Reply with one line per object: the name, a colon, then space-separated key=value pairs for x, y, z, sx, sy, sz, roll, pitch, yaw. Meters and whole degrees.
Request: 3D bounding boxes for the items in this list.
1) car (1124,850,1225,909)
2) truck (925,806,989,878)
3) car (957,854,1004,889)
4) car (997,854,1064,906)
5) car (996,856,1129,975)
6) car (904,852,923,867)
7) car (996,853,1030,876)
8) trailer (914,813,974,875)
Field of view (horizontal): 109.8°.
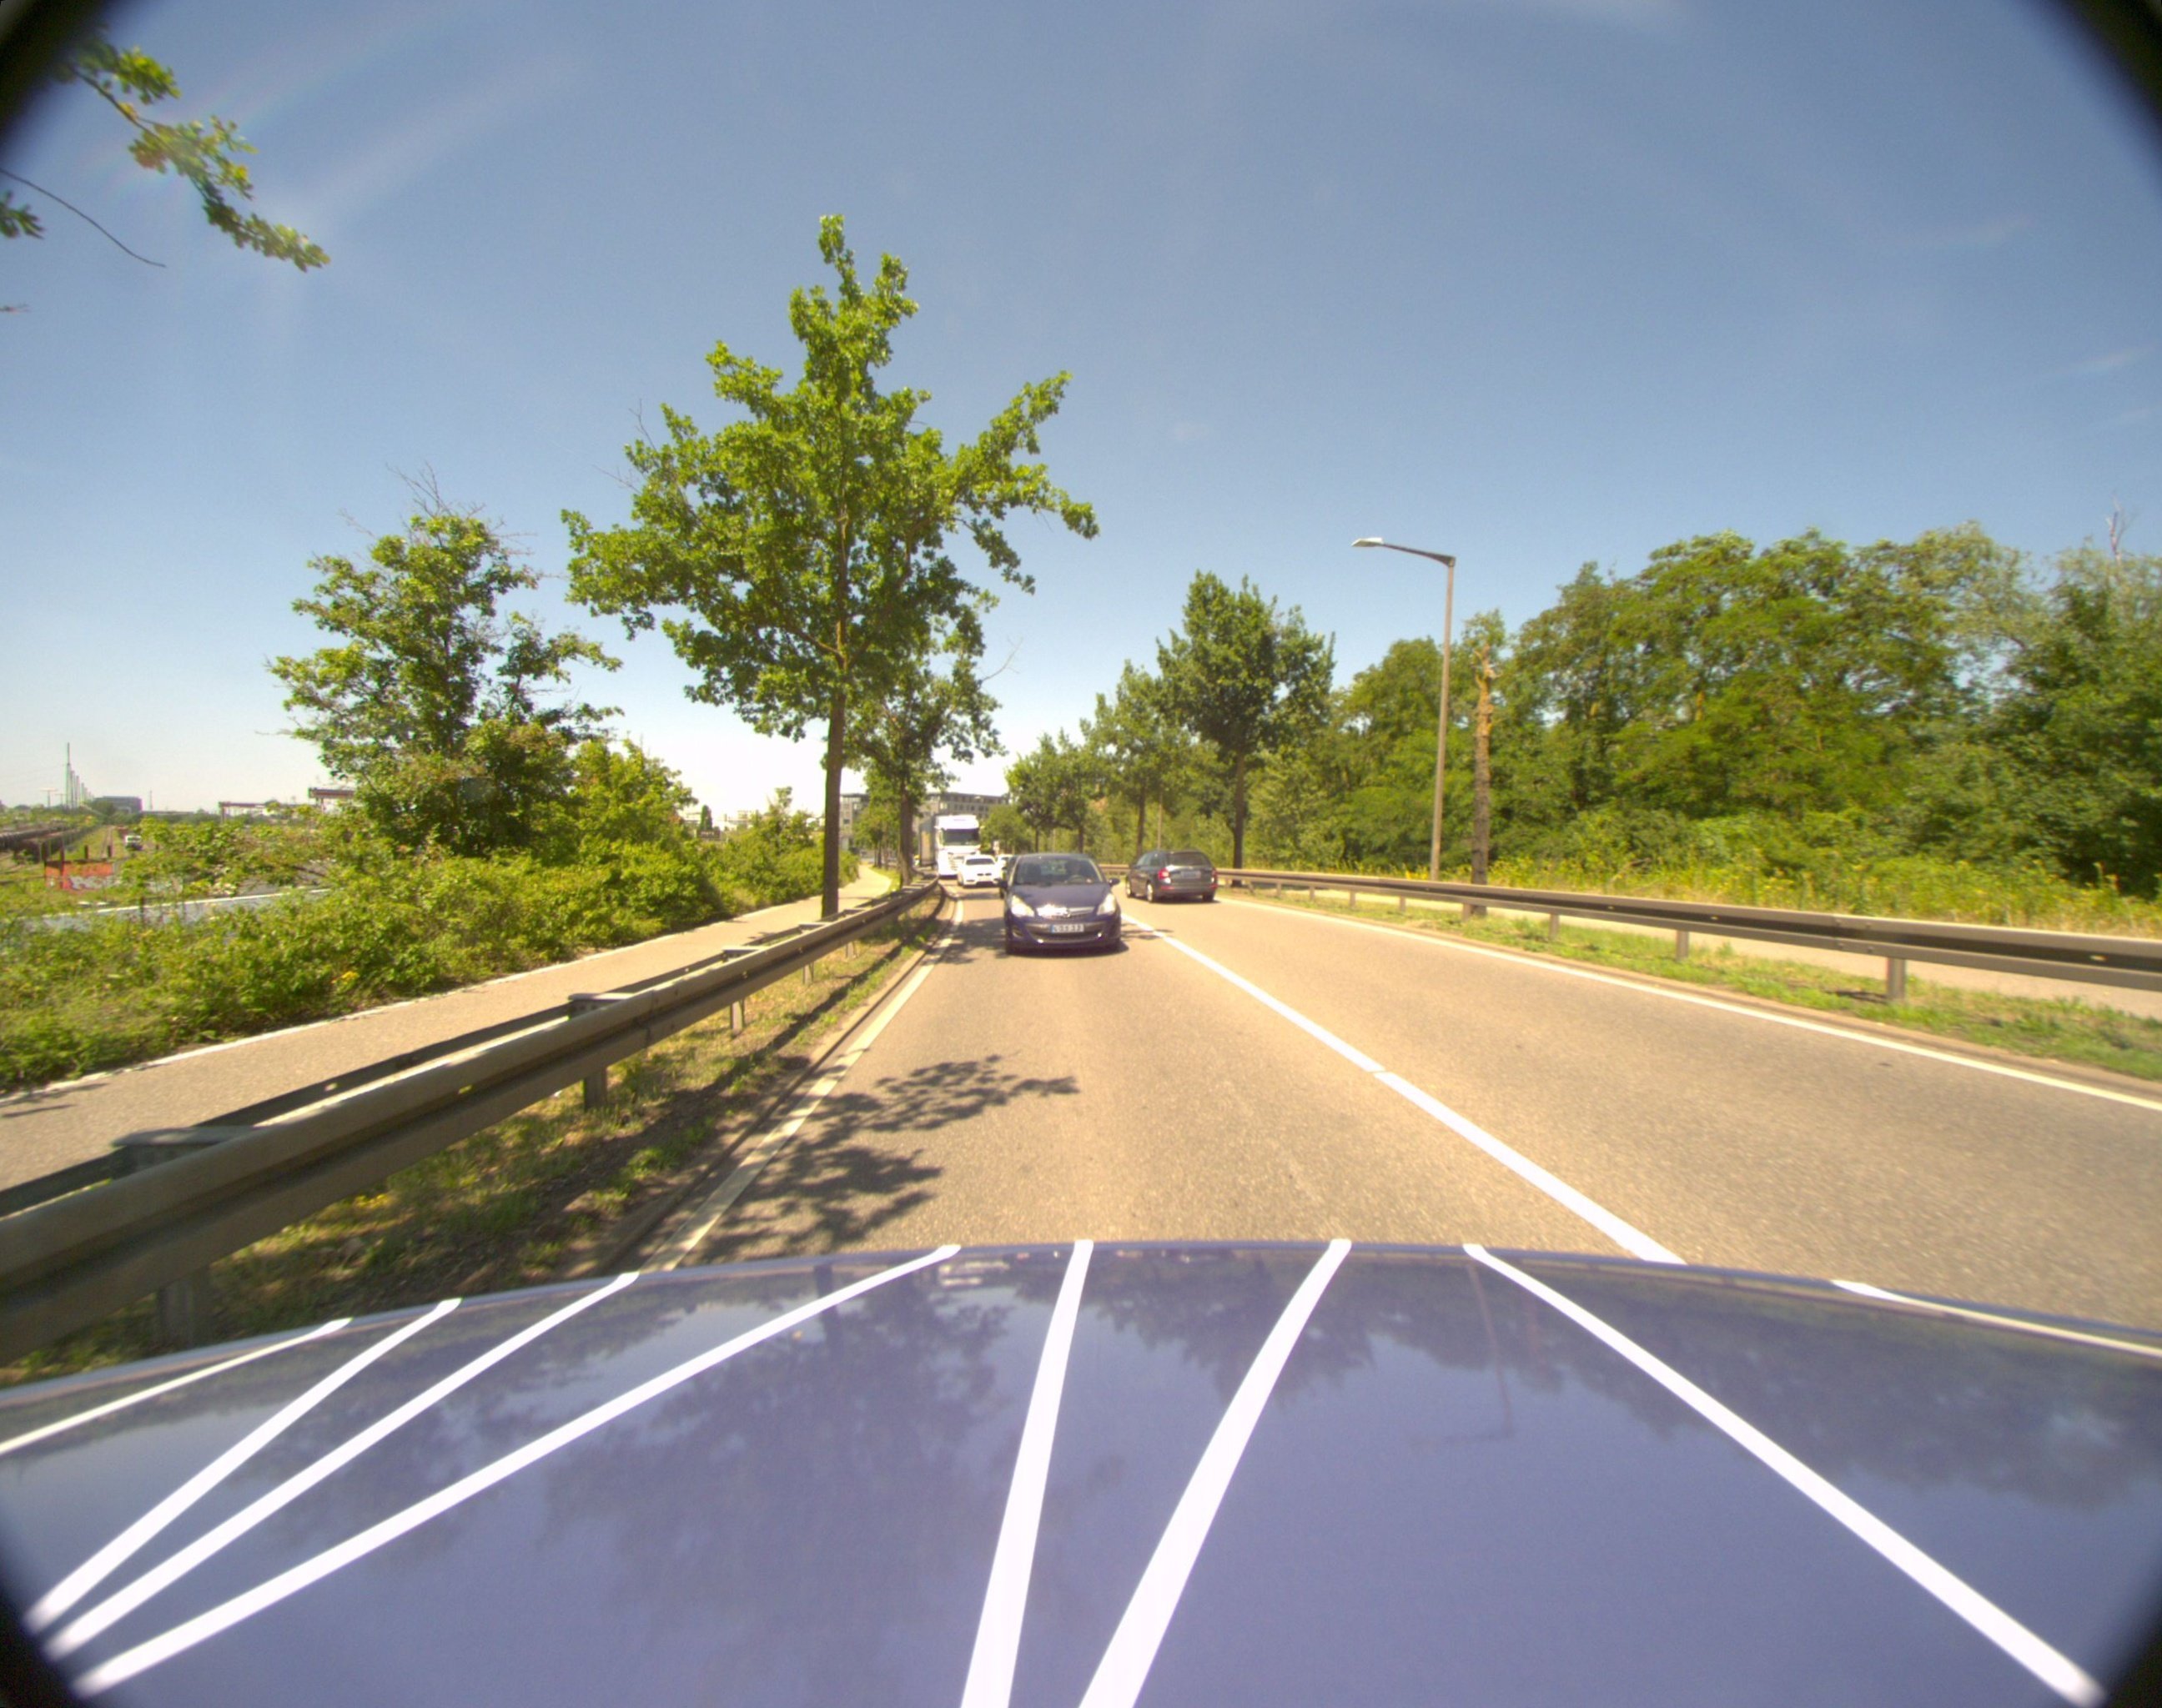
car: x=2.491 y=0.640 z=21.398 sx=1.750 sy=1.439 sz=4.513 roll=-1 pitch=1 yaw=-7
truck: x=-8.222 y=-0.708 z=49.570 sx=2.861 sy=4.244 sz=8.802 roll=-2 pitch=1 yaw=-17
car: x=-4.587 y=0.758 z=34.196 sx=1.818 sy=1.420 sz=3.711 roll=-1 pitch=1 yaw=-11
car: x=-1.657 y=0.738 z=23.767 sx=1.571 sy=1.408 sz=4.118 roll=-1 pitch=1 yaw=-11
car: x=-0.409 y=0.806 z=12.069 sx=1.699 sy=1.459 sz=4.381 roll=-1 pitch=0 yaw=-5
car: x=-18.217 y=0.542 z=82.667 sx=1.977 sy=1.567 sz=3.995 roll=-1 pitch=1 yaw=-13
car: x=-4.751 y=0.707 z=52.524 sx=1.731 sy=1.430 sz=4.019 roll=-2 pitch=1 yaw=-13
trailer: x=-10.670 y=-0.694 z=57.893 sx=2.884 sy=4.189 sz=13.987 roll=-1 pitch=1 yaw=-17
